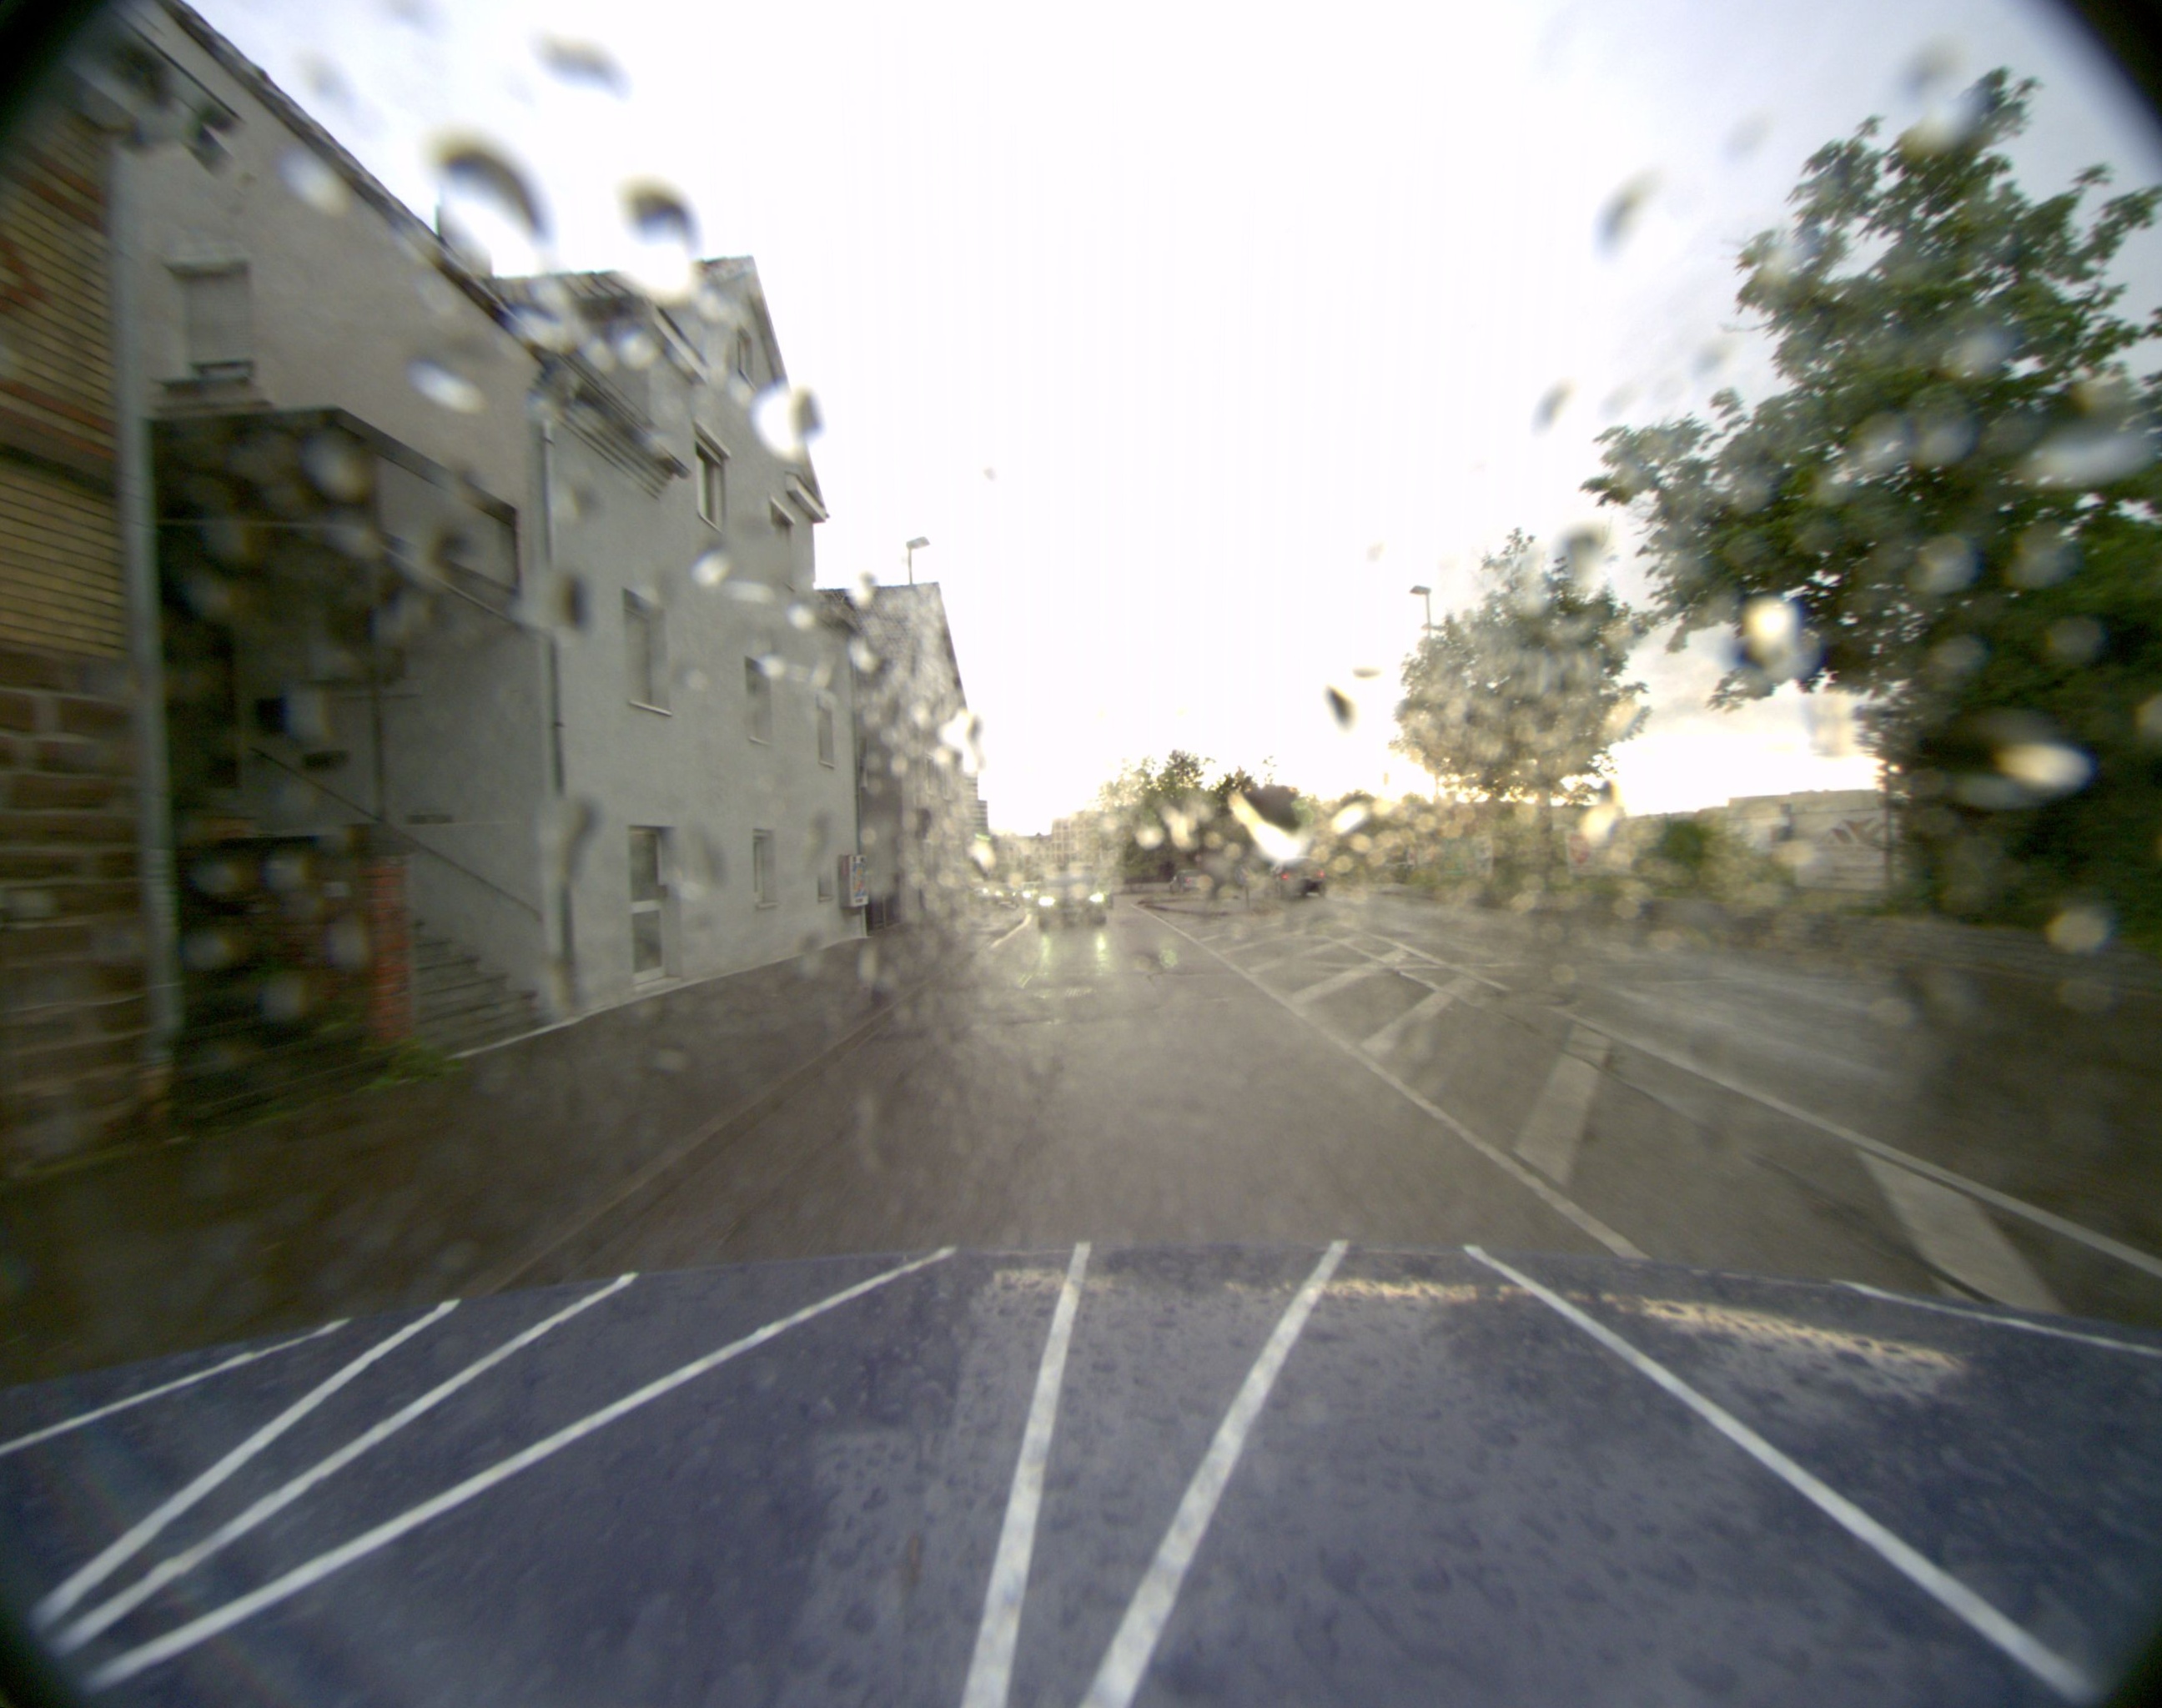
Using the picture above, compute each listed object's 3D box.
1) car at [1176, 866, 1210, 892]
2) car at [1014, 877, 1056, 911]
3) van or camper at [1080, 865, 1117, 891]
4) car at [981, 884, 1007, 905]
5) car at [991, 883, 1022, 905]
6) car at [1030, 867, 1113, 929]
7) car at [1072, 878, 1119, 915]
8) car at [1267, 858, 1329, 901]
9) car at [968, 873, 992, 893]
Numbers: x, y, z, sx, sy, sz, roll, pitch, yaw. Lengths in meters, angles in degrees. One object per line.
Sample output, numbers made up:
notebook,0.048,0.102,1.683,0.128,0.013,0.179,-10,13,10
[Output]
car,7.499,1.629,51.288,1.648,1.542,4.155,-5,-1,1
car,-2.816,2.348,45.629,1.902,1.649,4.941,-6,0,-9
van or camper,1.841,2.638,83.579,2.375,2.640,7.015,-3,-1,-12
car,-7.909,3.664,68.996,1.902,1.712,4.462,-3,-3,-11
car,-5.648,3.013,57.240,1.902,1.487,4.943,-2,-3,-10
car,-0.154,1.237,22.558,1.837,1.504,4.852,-4,-2,6
car,0.656,1.750,32.241,1.790,1.338,4.947,-3,-2,2
car,8.501,0.959,30.049,1.644,1.512,4.073,-3,-1,7
car,-10.754,3.086,80.754,2.032,1.924,4.942,-3,-3,-13
